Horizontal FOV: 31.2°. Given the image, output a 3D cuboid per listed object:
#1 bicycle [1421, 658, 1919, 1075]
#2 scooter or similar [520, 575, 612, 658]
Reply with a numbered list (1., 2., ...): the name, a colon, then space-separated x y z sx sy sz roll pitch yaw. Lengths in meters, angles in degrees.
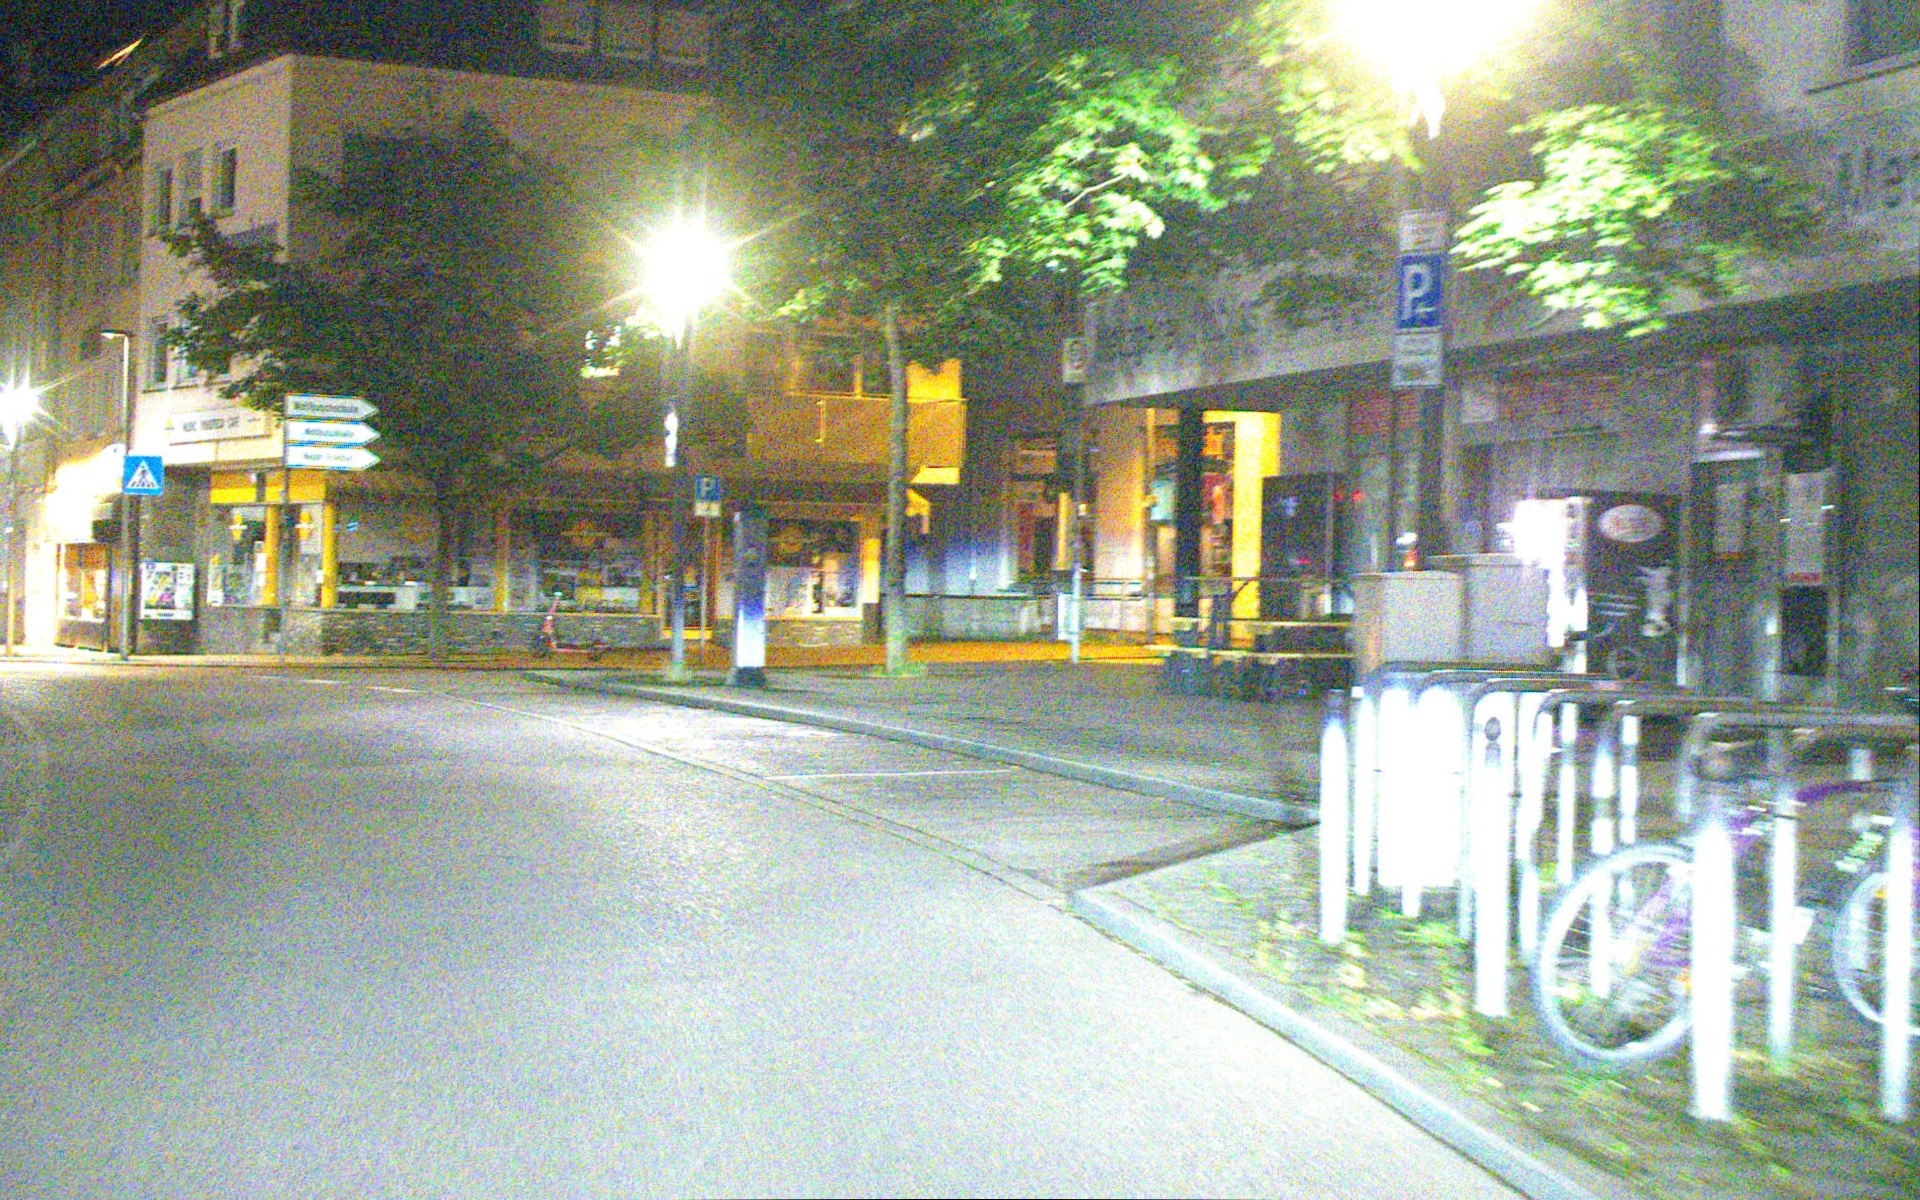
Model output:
1. bicycle: 2.227 0.715 9.481 1.749 1.059 0.656 1 1 -17
2. scooter or similar: -6.110 0.252 53.290 1.246 1.223 0.598 3 1 -20
